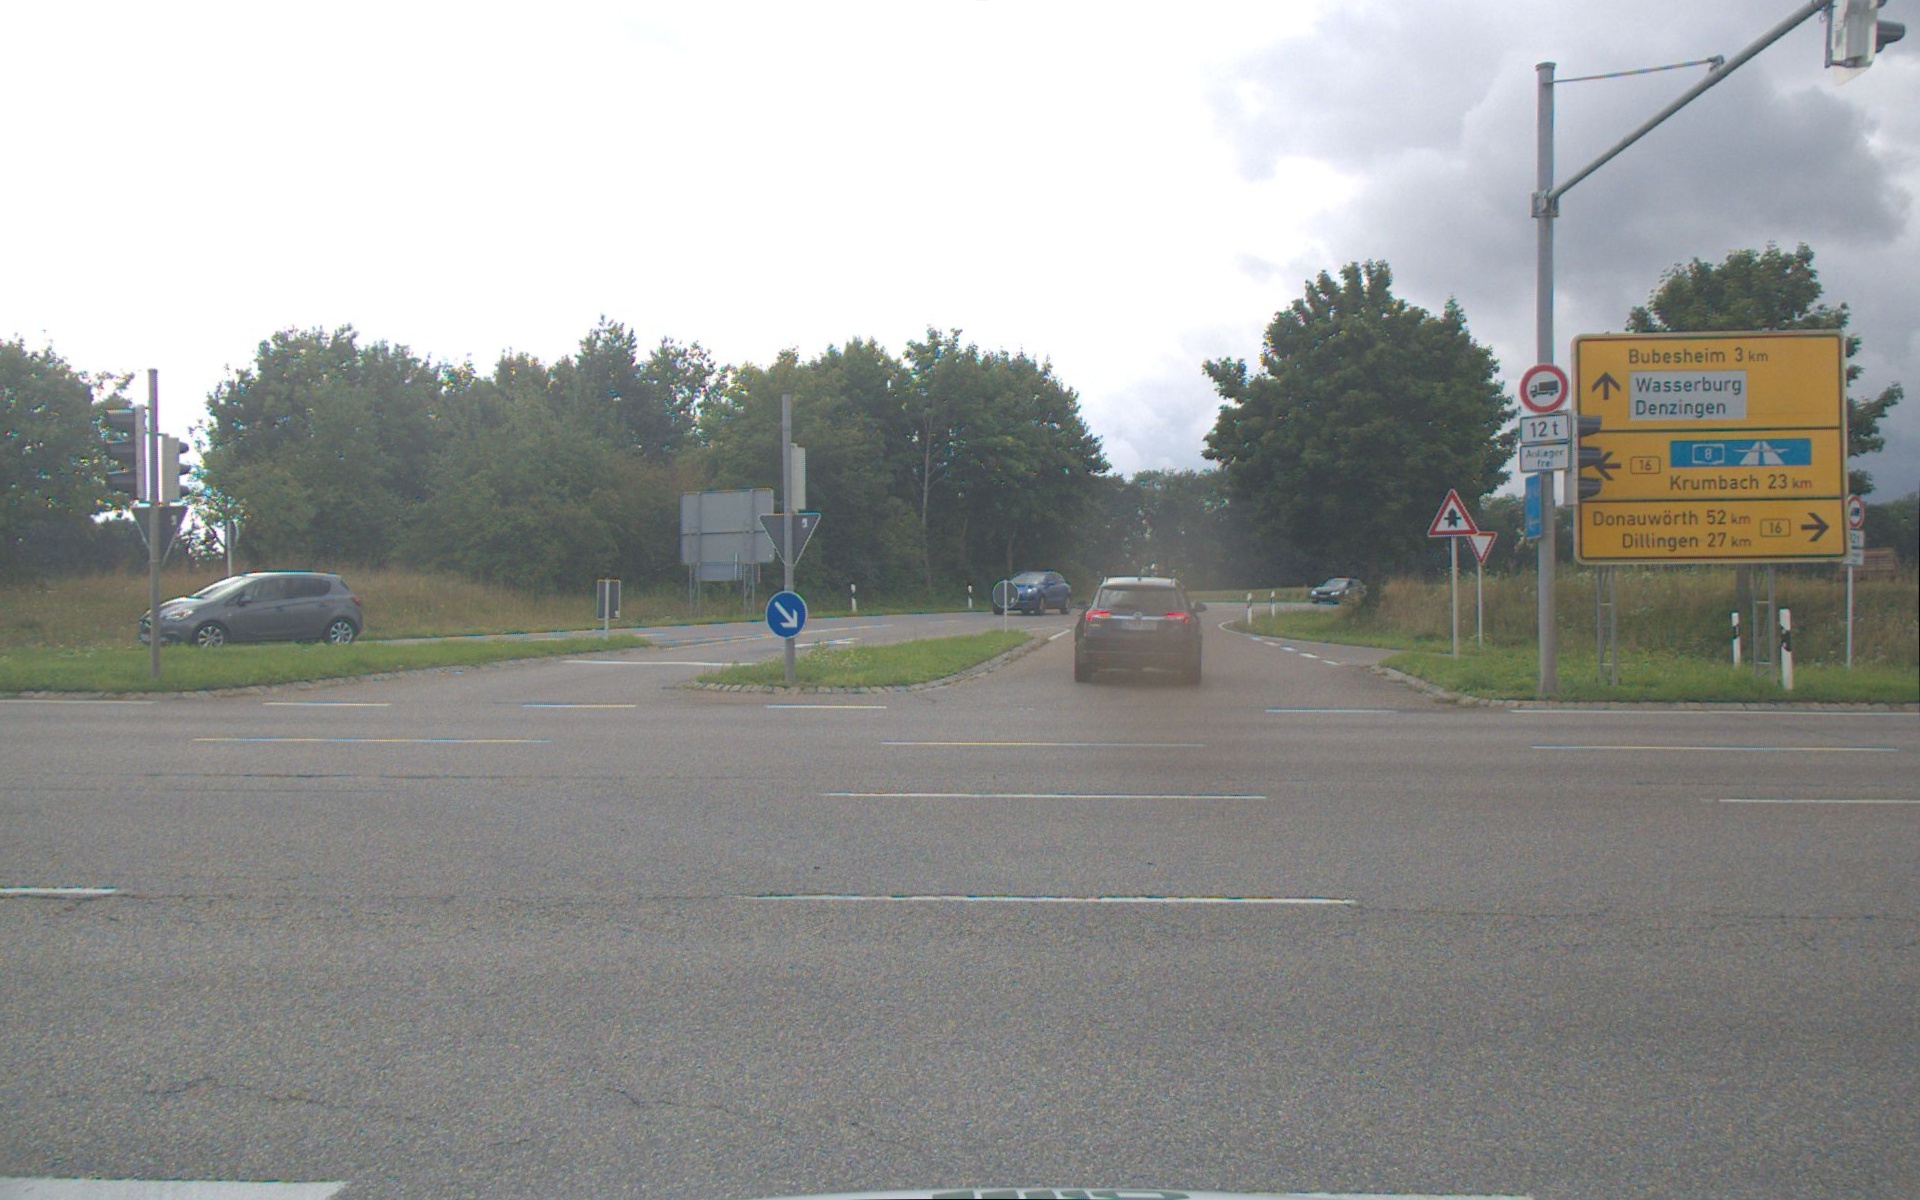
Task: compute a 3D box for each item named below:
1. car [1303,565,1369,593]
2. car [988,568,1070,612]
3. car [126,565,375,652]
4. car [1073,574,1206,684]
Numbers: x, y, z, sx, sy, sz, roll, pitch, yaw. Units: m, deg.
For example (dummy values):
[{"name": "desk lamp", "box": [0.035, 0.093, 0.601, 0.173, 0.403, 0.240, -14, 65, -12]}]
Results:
[{"name": "car", "box": [21.591, -1.203, 94.842, 1.961, 1.529, 4.648, 0, 1, 37]}, {"name": "car", "box": [2.659, -0.383, 62.471, 1.951, 1.598, 4.759, 0, 1, 18]}, {"name": "car", "box": [-13.553, 0.158, 31.720, 1.965, 1.562, 3.974, 0, 0, 43]}, {"name": "car", "box": [2.644, 0.381, 24.334, 1.769, 1.476, 4.276, 0, 0, 6]}]
